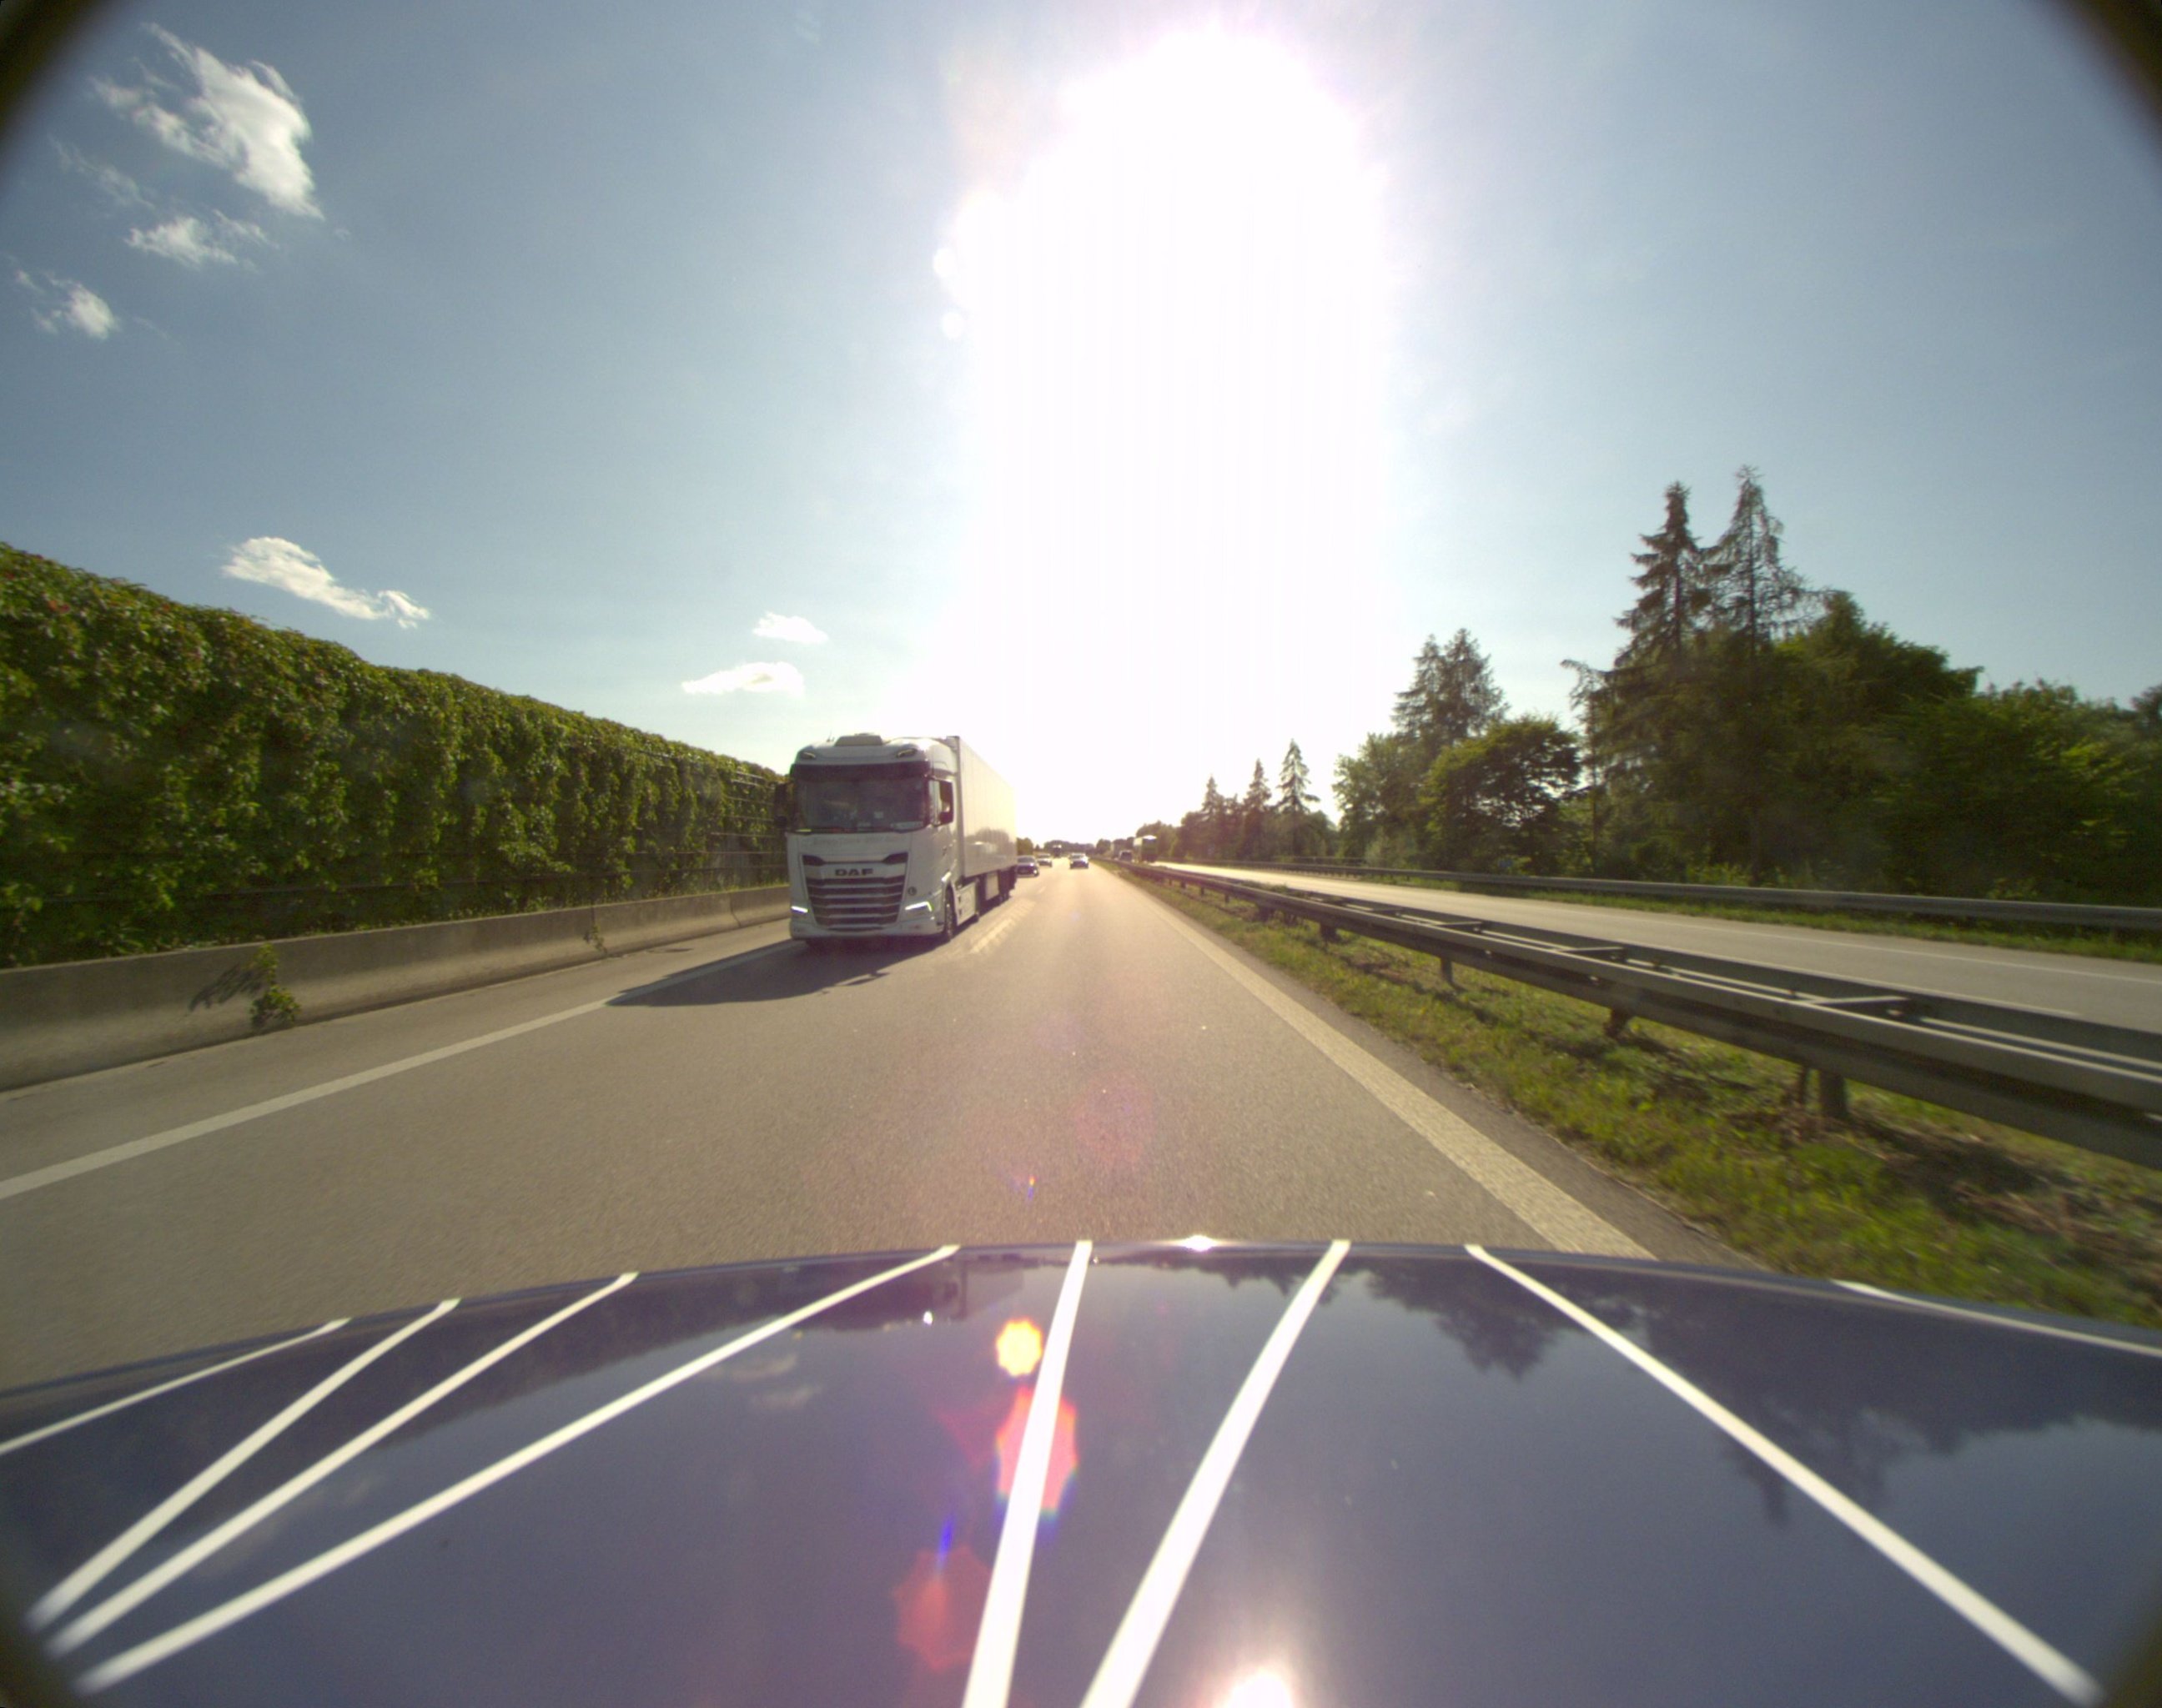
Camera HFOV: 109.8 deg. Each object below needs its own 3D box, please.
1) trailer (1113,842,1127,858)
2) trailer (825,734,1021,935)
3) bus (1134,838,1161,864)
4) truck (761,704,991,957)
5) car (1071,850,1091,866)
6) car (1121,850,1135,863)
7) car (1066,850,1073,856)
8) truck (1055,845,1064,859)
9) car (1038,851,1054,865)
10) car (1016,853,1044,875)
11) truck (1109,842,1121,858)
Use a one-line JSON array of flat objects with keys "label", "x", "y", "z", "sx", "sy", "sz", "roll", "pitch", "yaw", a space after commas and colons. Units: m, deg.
[{"label": "trailer", "x": 9.945, "y": -0.931, "z": 194.483, "sx": 2.668, "sy": 3.985, "sz": 14.085, "roll": 1, "pitch": 0, "yaw": -1}, {"label": "trailer", "x": -3.688, "y": -0.384, "z": 22.128, "sx": 2.826, "sy": 3.943, "sz": 14.158, "roll": 1, "pitch": 0, "yaw": 0}, {"label": "bus", "x": 10.705, "y": -0.439, "z": 123.723, "sx": 2.944, "sy": 4.030, "sz": 14.666, "roll": 1, "pitch": 0, "yaw": -1}, {"label": "truck", "x": -3.635, "y": -0.362, "z": 15.469, "sx": 2.848, "sy": 3.943, "sz": 7.043, "roll": 1, "pitch": 0, "yaw": -1}, {"label": "car", "x": -0.013, "y": 0.406, "z": 74.549, "sx": 1.871, "sy": 1.514, "sz": 4.283, "roll": 2, "pitch": 0, "yaw": -1}, {"label": "car", "x": 6.960, "y": 0.418, "z": 112.581, "sx": 1.759, "sy": 1.838, "sz": 5.011, "roll": 2, "pitch": 0, "yaw": 0}, {"label": "car", "x": -2.788, "y": -0.322, "z": 186.397, "sx": 1.741, "sy": 1.514, "sz": 3.999, "roll": 0, "pitch": 1, "yaw": -1}, {"label": "truck", "x": -6.571, "y": -0.722, "z": 236.988, "sx": 2.537, "sy": 4.227, "sz": 11.264, "roll": 1, "pitch": 0, "yaw": 0}, {"label": "car", "x": -4.033, "y": 0.513, "z": 87.634, "sx": 1.689, "sy": 1.487, "sz": 4.987, "roll": 3, "pitch": -1, "yaw": -1}, {"label": "car", "x": -3.509, "y": 0.663, "z": 52.801, "sx": 1.669, "sy": 1.446, "sz": 4.543, "roll": -1, "pitch": 0, "yaw": -1}, {"label": "truck", "x": 8.912, "y": -1.025, "z": 200.679, "sx": 2.651, "sy": 3.985, "sz": 7.192, "roll": 1, "pitch": 0, "yaw": -1}]
